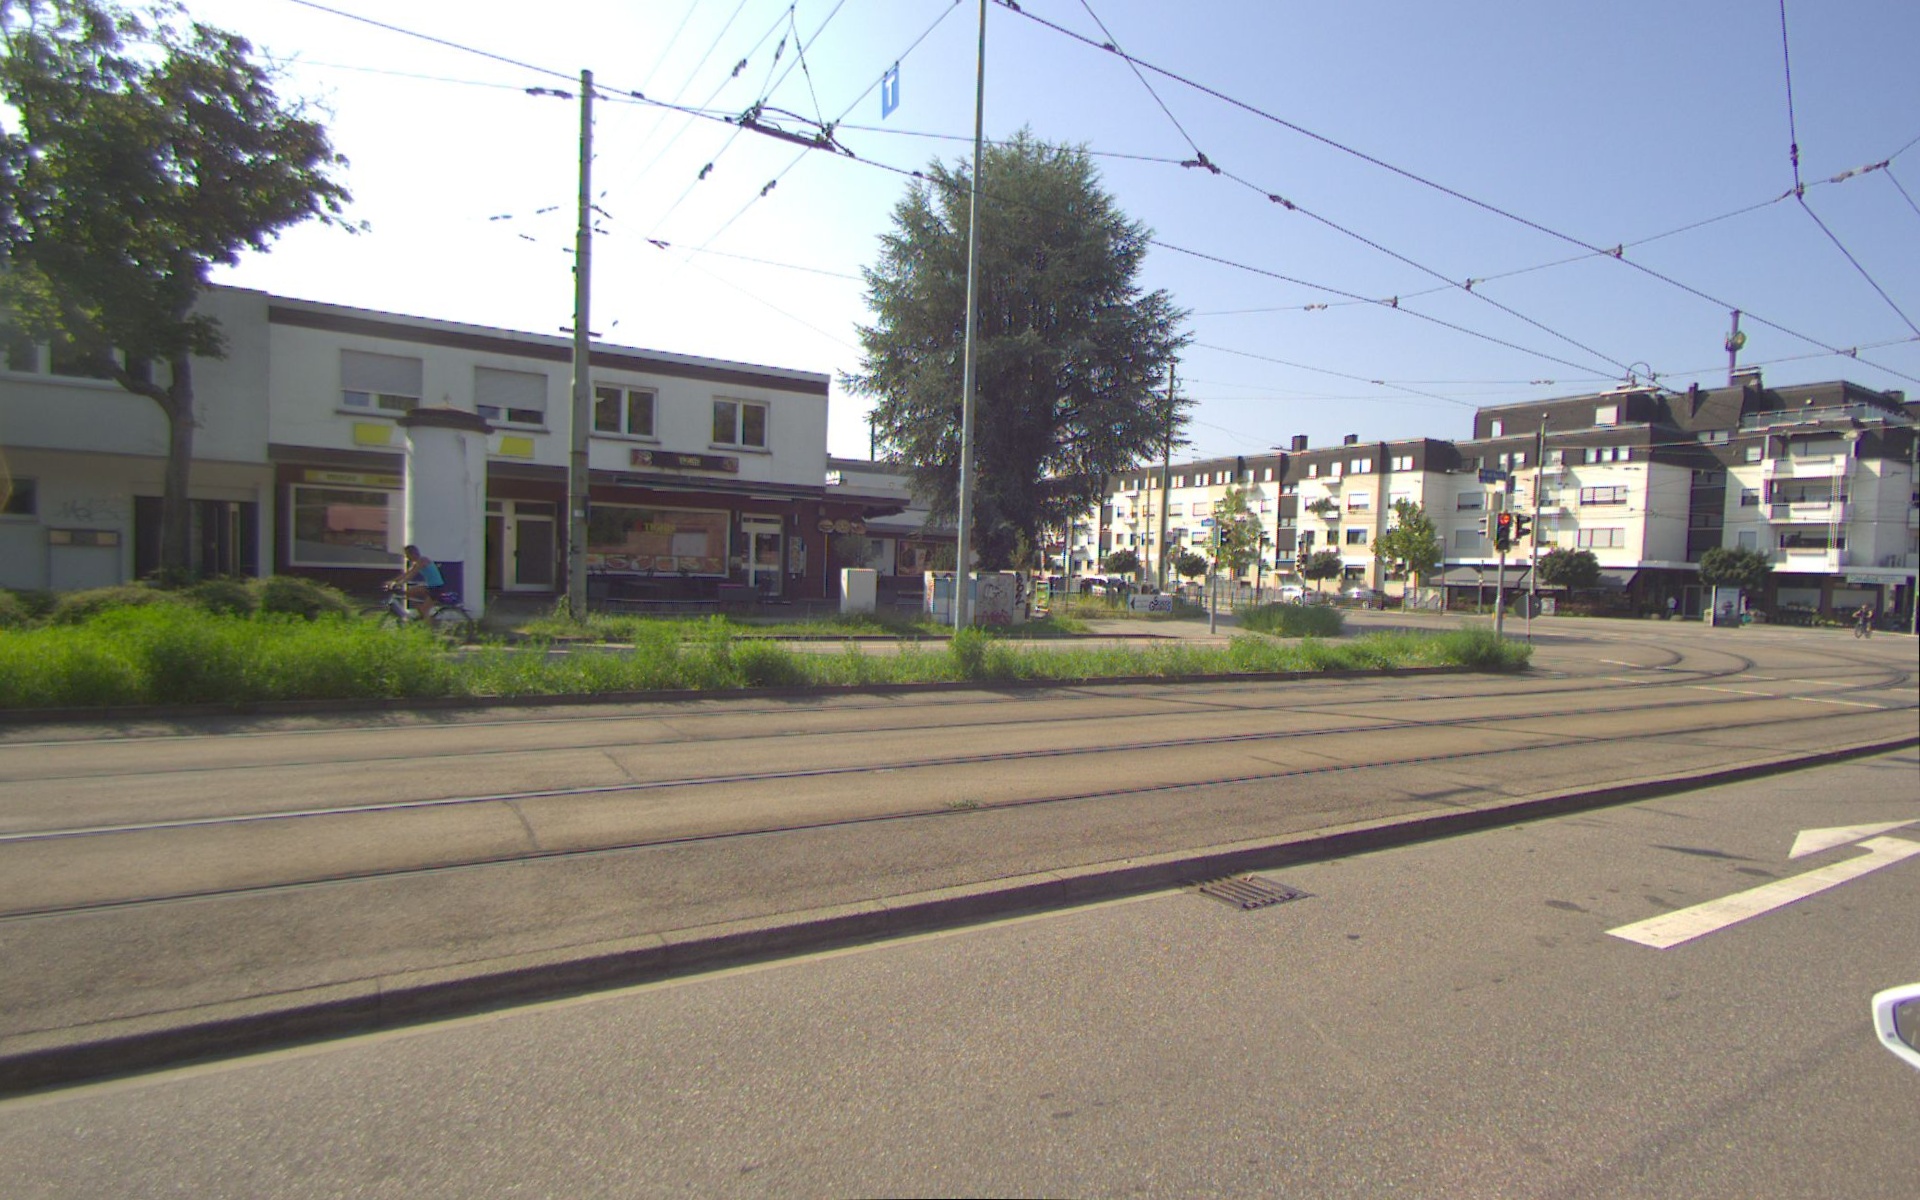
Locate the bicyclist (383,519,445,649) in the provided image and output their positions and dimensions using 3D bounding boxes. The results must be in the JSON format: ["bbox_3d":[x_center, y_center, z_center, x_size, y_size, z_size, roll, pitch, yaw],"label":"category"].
[{"bbox_3d":[-9.068,-0.255,16.694,0.768,2.092,0.632,1,0,-40],"label":"bicyclist"}]

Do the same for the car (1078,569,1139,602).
[{"bbox_3d":[9.546,-0.937,64.998,1.801,1.912,3.995,1,3,-29],"label":"car"}]

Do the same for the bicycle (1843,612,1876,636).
[{"bbox_3d":[44.948,1.201,50.176,2.181,1.195,0.572,1,1,-30],"label":"bicycle"}]

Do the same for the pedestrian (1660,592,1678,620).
[{"bbox_3d":[46.195,0.378,65.451,0.690,1.764,0.676,1,0,-30],"label":"pedestrian"}]

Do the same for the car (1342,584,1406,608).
[{"bbox_3d":[31.536,-0.307,76.647,1.908,1.527,4.087,1,3,-31],"label":"car"}]

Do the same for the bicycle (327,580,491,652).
[{"bbox_3d":[-9.049,0.263,16.581,0.707,1.106,2.251,2,0,45],"label":"bicycle"}]

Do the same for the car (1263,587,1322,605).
[{"bbox_3d":[25.083,-0.325,75.900,1.654,1.317,4.087,1,0,-31],"label":"car"}]

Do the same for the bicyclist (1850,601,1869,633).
[{"bbox_3d":[44.896,0.846,50.138,0.484,1.543,0.565,1,0,-30],"label":"bicyclist"}]

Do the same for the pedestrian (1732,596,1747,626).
[{"bbox_3d":[46.353,0.633,59.731,0.589,1.768,0.565,2,0,26],"label":"pedestrian"}]
